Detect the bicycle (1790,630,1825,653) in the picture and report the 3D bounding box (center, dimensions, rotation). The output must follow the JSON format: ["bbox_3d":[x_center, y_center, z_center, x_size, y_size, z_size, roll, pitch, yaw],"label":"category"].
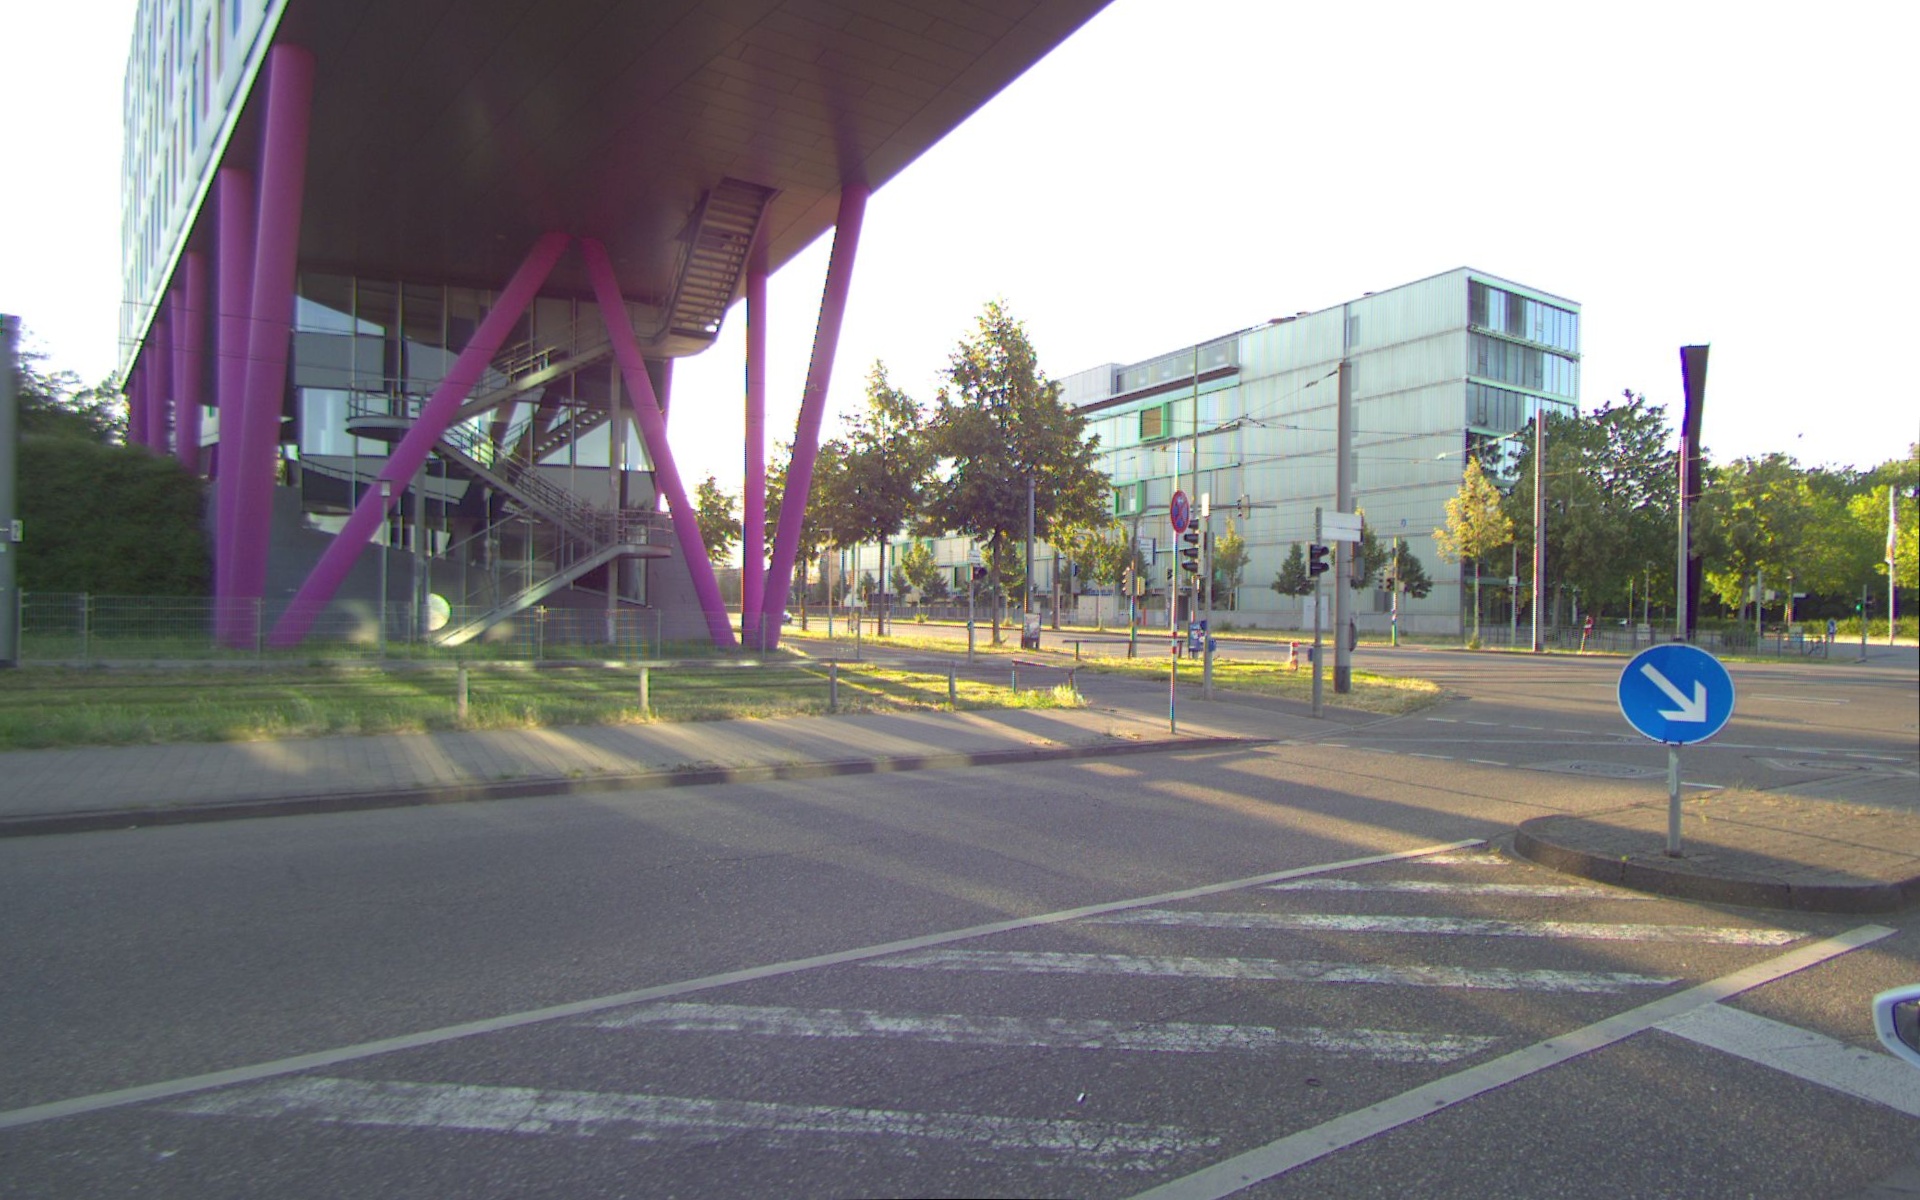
[{"bbox_3d":[43.160,2.114,51.164,2.367,1.151,0.695,1,0,-33],"label":"bicycle"}]

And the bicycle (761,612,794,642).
[{"bbox_3d":[-7.784,1.144,42.797,0.734,1.223,2.094,1,0,-29],"label":"bicycle"}]

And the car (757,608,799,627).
[{"bbox_3d":[-14.809,1.392,81.572,1.979,1.439,3.963,1,0,-33],"label":"car"}]

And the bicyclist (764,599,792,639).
[{"bbox_3d":[-7.735,0.809,42.717,0.798,1.655,1.278,1,0,-29],"label":"bicyclist"}]
